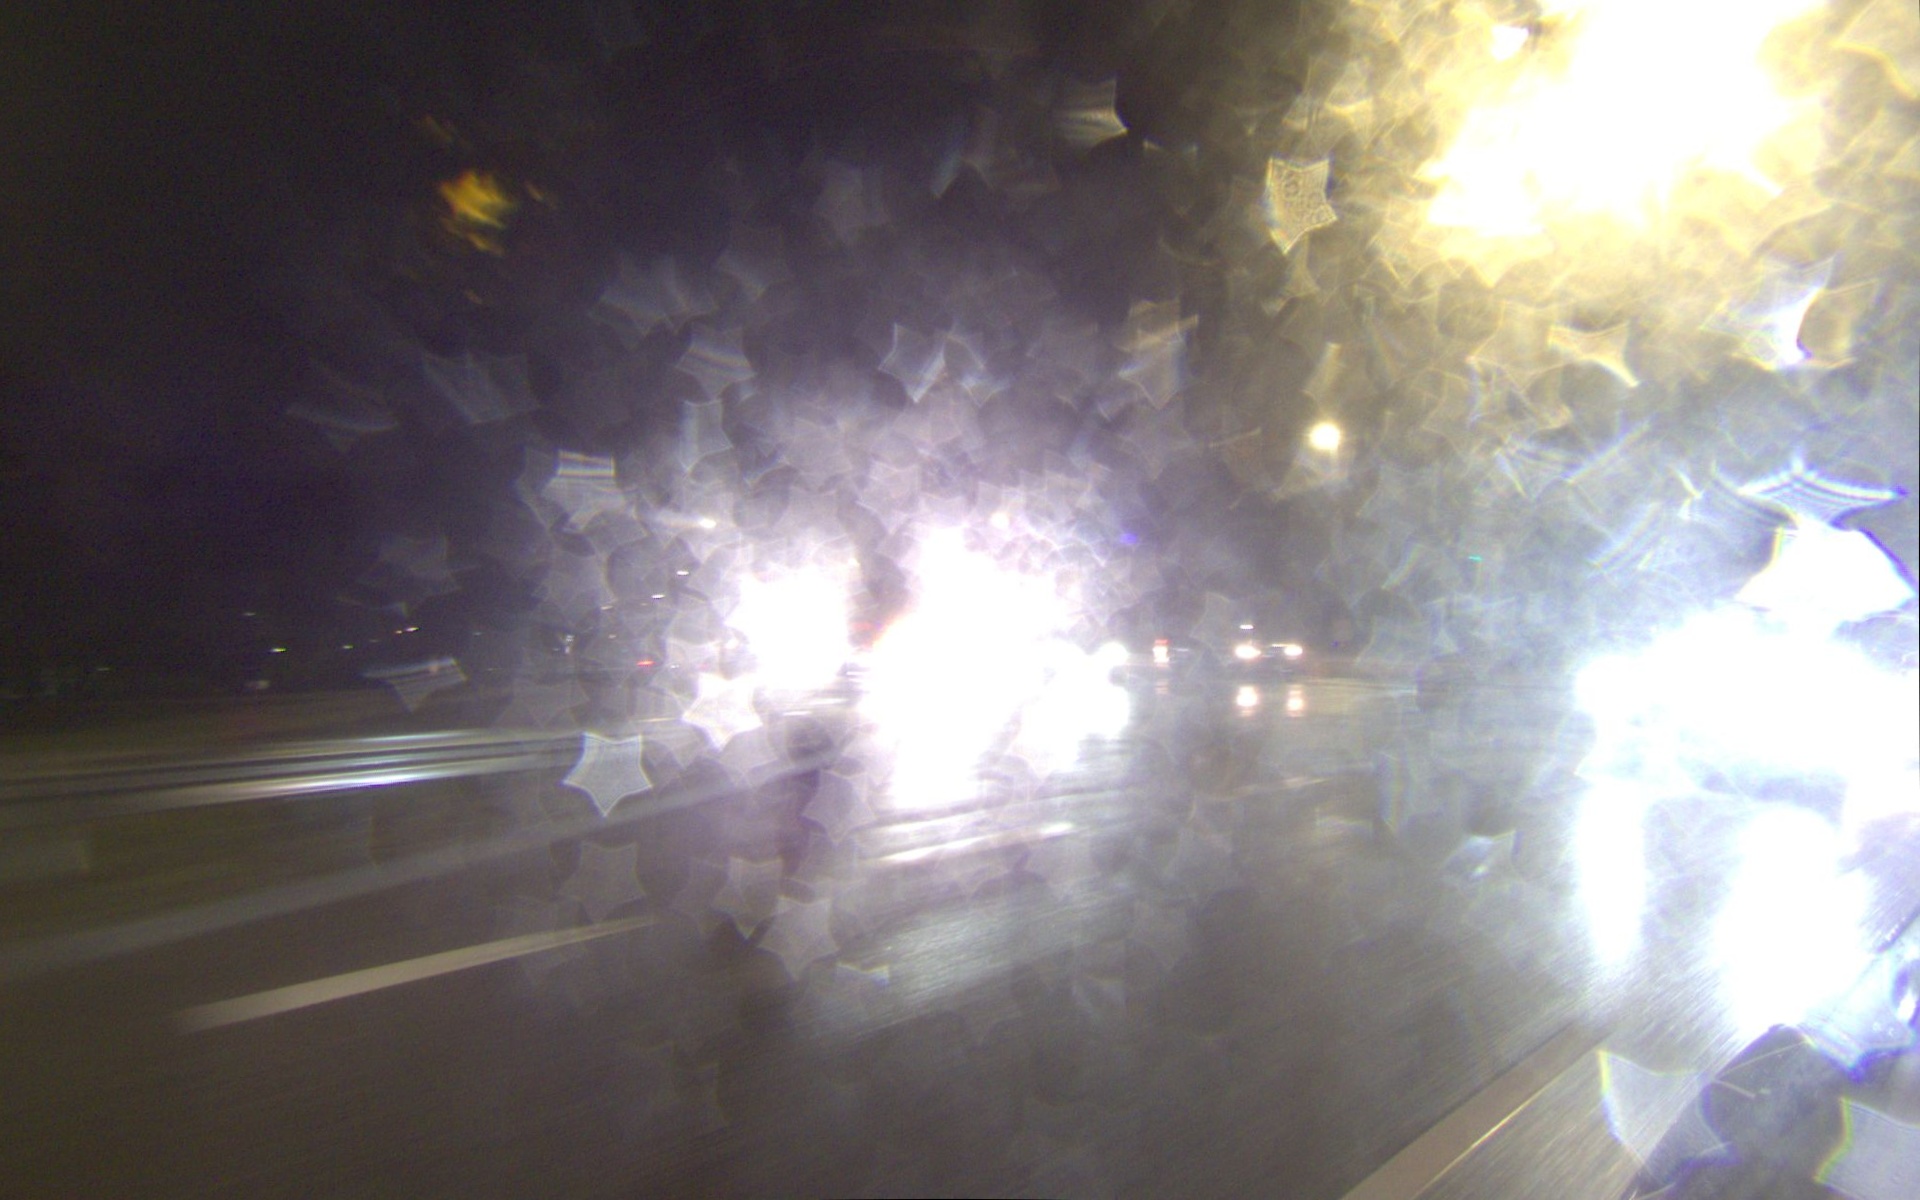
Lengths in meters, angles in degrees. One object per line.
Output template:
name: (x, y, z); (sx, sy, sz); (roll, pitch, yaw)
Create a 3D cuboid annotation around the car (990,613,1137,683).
car: (2.379, 1.079, 24.641); (1.958, 1.426, 4.555); (0, 0, -17)

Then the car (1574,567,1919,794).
car: (7.934, 0.588, 9.705); (4.157, 1.736, 1.930); (0, 1, -34)

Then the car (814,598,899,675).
car: (-3.261, 1.158, 31.085); (1.728, 2.039, 4.005); (-6, -2, -16)

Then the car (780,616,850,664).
car: (-5.540, 1.471, 38.157); (1.958, 1.661, 4.354); (-1, -1, -17)

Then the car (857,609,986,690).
car: (-1.063, 1.097, 24.537); (1.958, 1.660, 4.792); (0, 0, -17)

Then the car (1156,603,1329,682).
car: (6.644, 0.923, 24.307); (1.958, 1.660, 4.127); (0, 0, -20)
